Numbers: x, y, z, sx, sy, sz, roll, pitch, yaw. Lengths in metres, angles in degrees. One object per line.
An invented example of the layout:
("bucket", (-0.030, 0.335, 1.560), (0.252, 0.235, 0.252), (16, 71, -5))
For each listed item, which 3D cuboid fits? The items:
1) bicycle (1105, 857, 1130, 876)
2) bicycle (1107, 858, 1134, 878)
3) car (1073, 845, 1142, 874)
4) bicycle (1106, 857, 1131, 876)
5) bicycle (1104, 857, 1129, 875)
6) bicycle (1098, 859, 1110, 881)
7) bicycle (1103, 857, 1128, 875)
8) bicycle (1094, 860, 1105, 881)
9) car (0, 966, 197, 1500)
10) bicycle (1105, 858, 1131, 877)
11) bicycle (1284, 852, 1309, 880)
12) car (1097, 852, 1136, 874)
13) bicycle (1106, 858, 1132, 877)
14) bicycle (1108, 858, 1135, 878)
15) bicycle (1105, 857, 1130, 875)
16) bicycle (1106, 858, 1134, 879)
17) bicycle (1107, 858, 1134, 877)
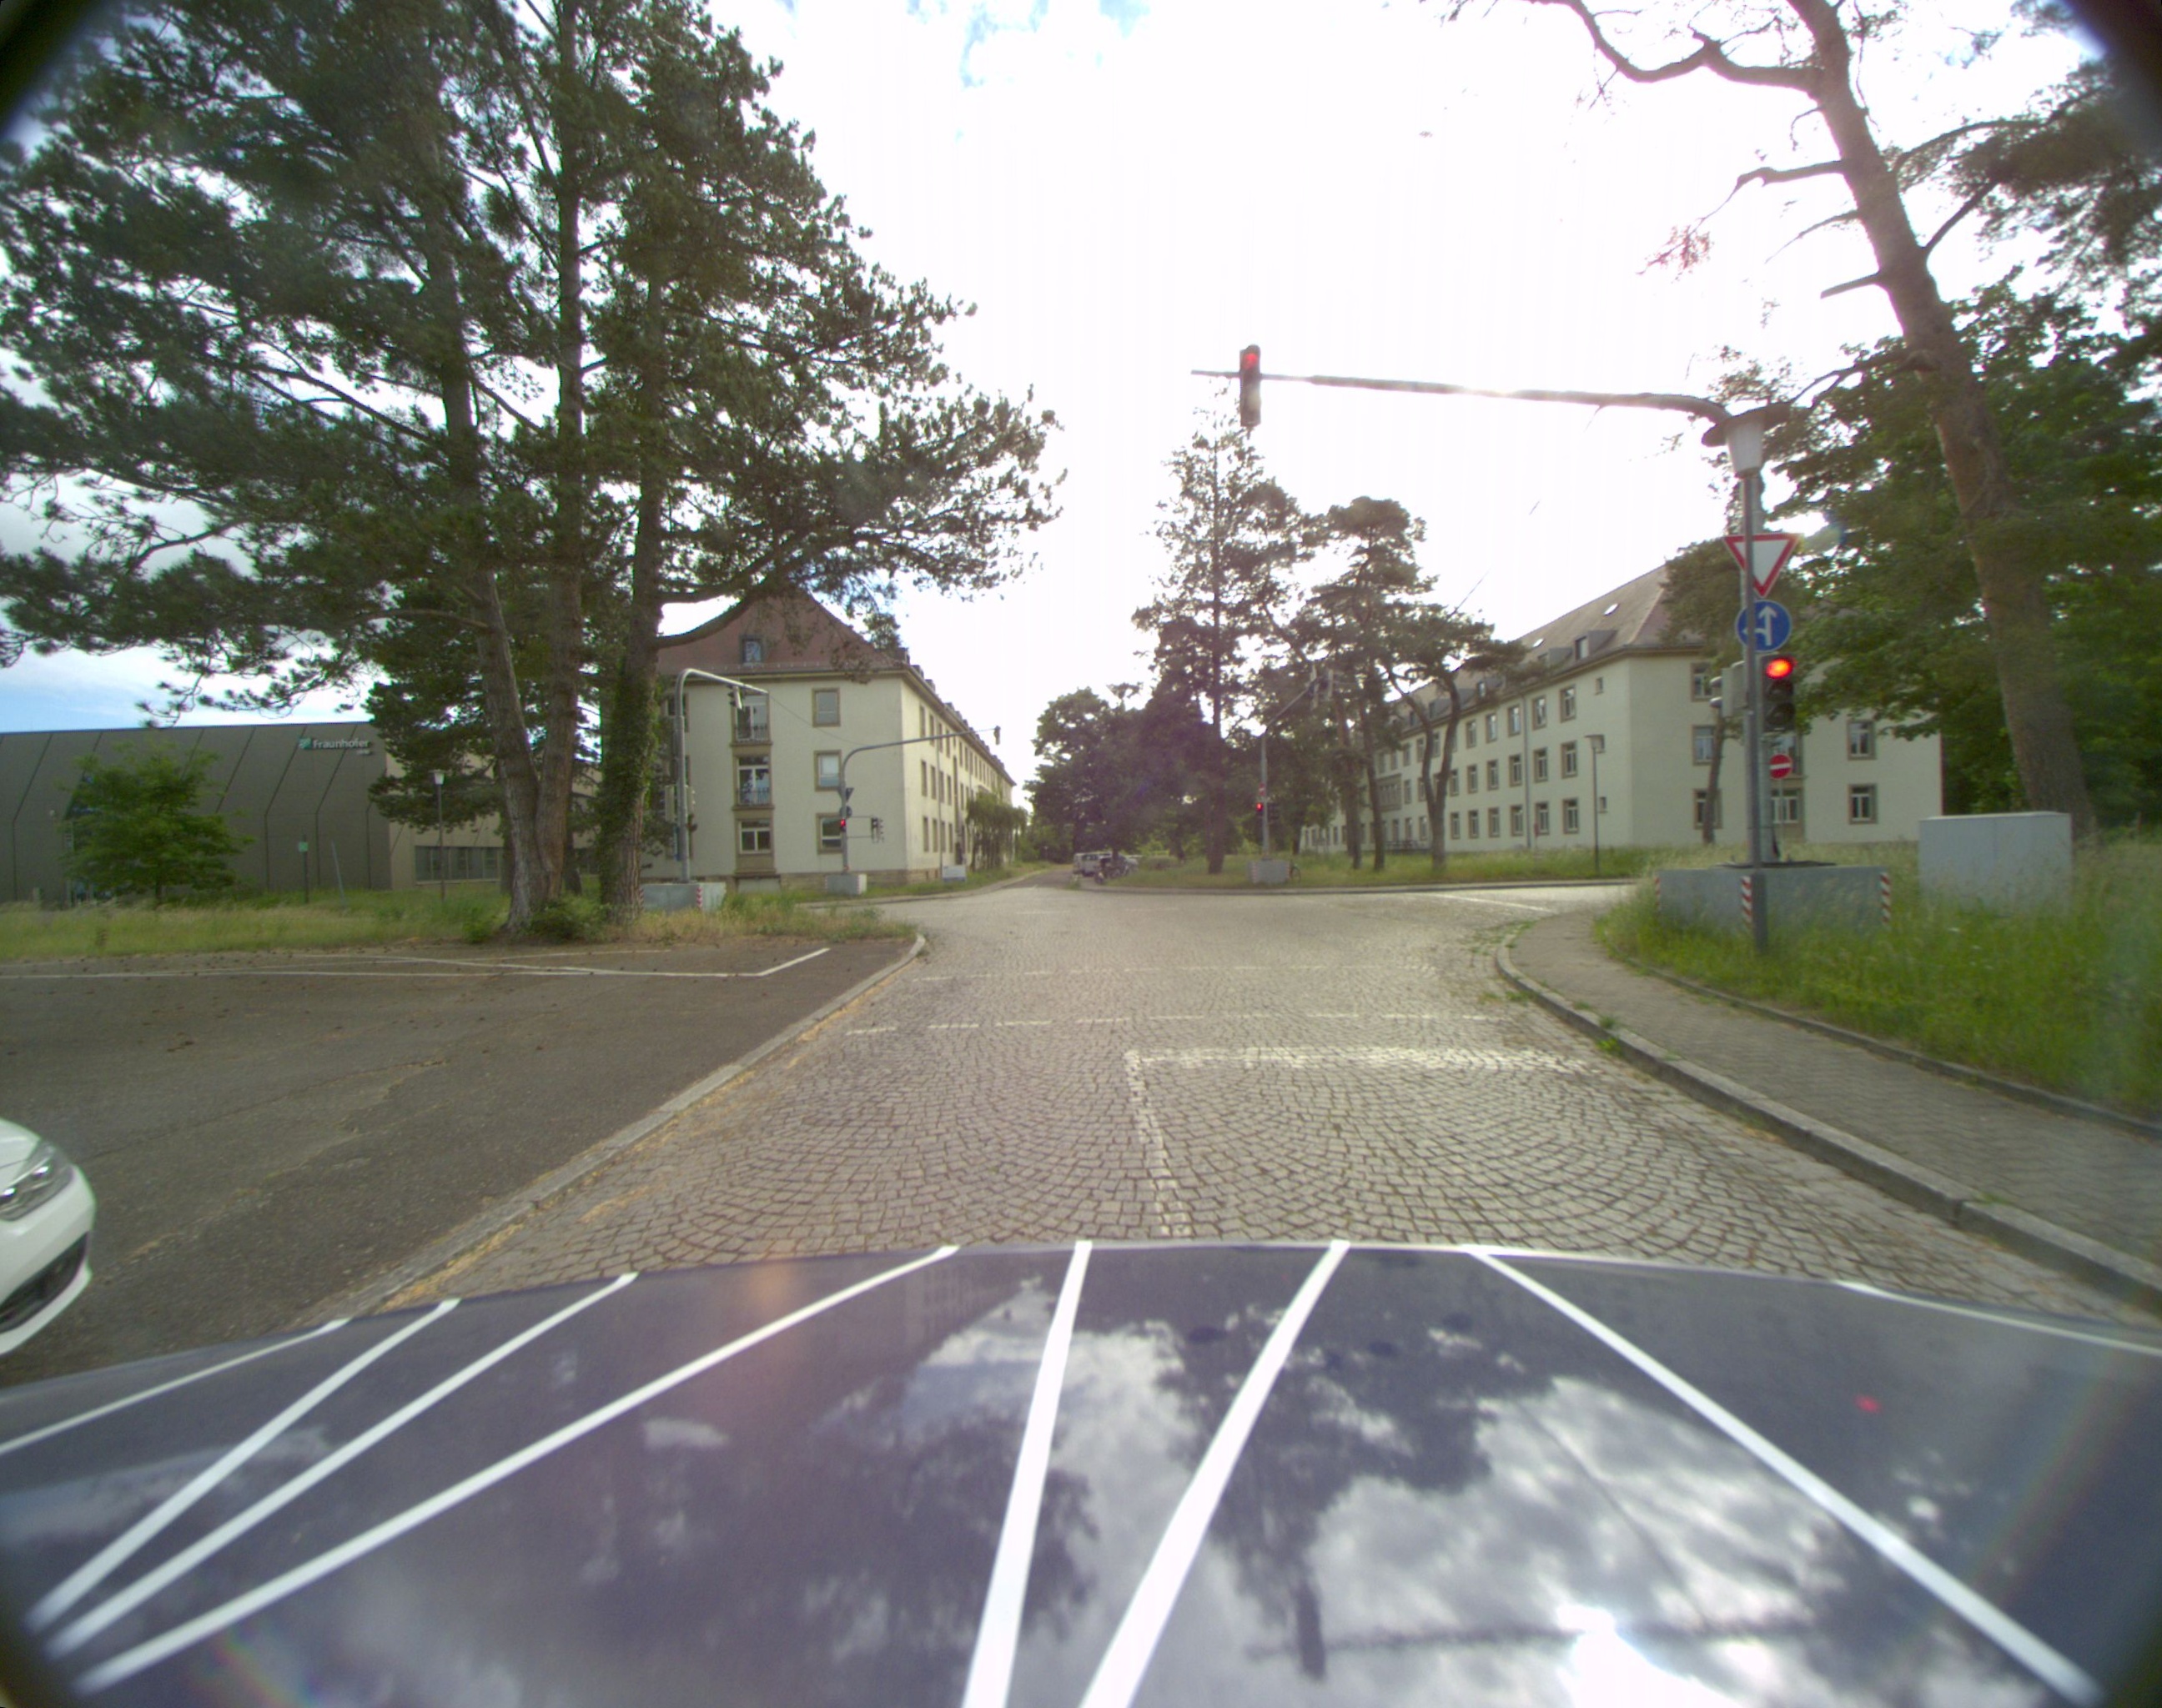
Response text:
("bicycle", (2.303, 0.788, 48.388), (1.457, 1.033, 0.497), (-5, 1, -5))
("bicycle", (2.274, 0.826, 43.996), (1.457, 1.033, 0.497), (-5, 1, -5))
("car", (2.125, 0.451, 61.306), (5.172, 1.905, 2.034), (-4, 0, -13))
("bicycle", (2.343, 0.796, 47.898), (1.457, 1.033, 0.497), (-5, 1, -5))
("bicycle", (2.319, 0.795, 49.437), (1.457, 1.033, 0.497), (-5, 1, -5))
("bicycle", (1.195, 0.835, 40.205), (0.497, 1.068, 1.416), (-5, 1, 0))
("bicycle", (2.265, 0.798, 49.912), (1.457, 1.033, 0.497), (-5, 1, -5))
("bicycle", (1.018, 0.902, 41.812), (0.497, 1.033, 1.416), (-5, 1, 0))
("car", (-5.272, 1.073, 1.574), (4.562, 1.417, 1.826), (1, 1, -3))
("bicycle", (2.280, 0.819, 46.774), (1.457, 1.033, 0.497), (-5, 1, -5))
("bicycle", (8.742, 0.483, 30.868), (0.497, 1.068, 1.416), (-5, 1, -3))
("car", (2.693, 0.673, 57.969), (2.771, 1.407, 1.592), (-4, 0, -1))
("bicycle", (2.310, 0.793, 46.306), (1.457, 1.033, 0.497), (-5, 1, -5))
("bicycle", (2.405, 0.821, 45.030), (1.457, 1.033, 0.497), (-5, 1, -5))
("bicycle", (2.365, 0.784, 48.916), (1.457, 1.033, 0.497), (-5, 1, -5))
("bicycle", (2.210, 0.819, 43.200), (1.457, 1.033, 0.497), (-5, 1, -7))
("bicycle", (2.378, 0.811, 45.615), (1.457, 1.033, 0.497), (-5, 1, -5))
